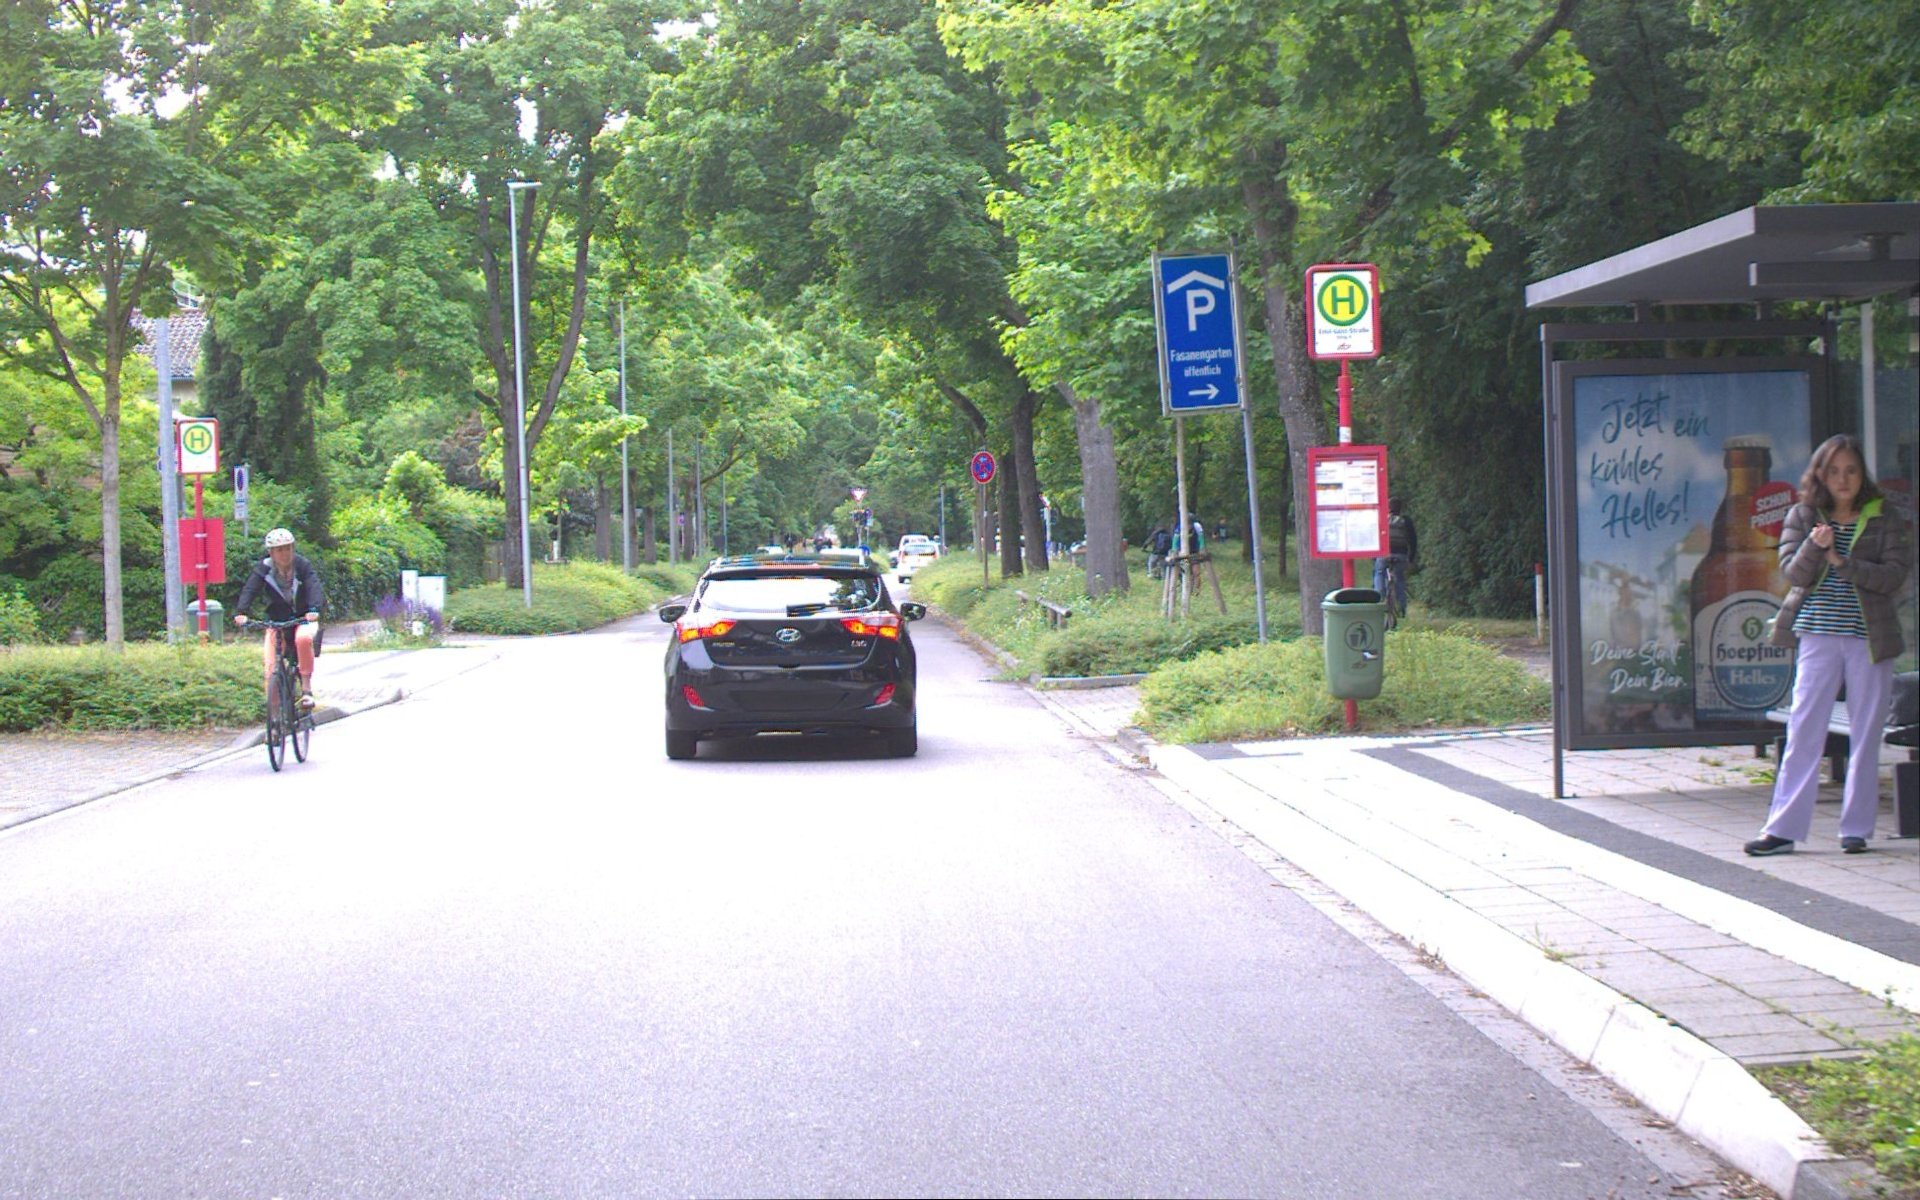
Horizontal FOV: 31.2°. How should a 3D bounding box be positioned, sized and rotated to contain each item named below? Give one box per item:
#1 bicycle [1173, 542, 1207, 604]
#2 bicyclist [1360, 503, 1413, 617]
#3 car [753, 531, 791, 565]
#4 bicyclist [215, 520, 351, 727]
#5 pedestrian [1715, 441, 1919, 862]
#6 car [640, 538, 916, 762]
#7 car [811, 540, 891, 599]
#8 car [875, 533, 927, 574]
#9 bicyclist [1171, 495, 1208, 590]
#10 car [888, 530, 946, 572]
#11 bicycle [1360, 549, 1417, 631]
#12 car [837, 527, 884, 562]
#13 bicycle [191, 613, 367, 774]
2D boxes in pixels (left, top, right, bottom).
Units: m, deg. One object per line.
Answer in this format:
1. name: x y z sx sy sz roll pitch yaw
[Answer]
1. bicycle: 3.809 -0.453 56.900 0.491 0.971 1.944 -2 1 5
2. bicyclist: 5.410 -0.513 43.639 0.597 1.404 0.758 -2 1 5
3. car: -8.488 -2.365 154.792 1.562 1.432 4.216 -2 1 -4
4. bicyclist: -4.976 0.159 25.320 0.784 1.464 0.937 -2 1 -2
5. pedestrian: 3.381 0.188 13.404 0.654 1.578 0.698 -2 1 -2
6. car: -1.328 0.305 25.277 1.846 1.457 3.828 -1 2 -3
7. car: -2.903 -0.833 90.990 1.864 1.457 4.118 -2 1 -5
8. car: -3.023 -2.360 174.732 1.993 2.007 4.001 -3 1 -9
9. bicyclist: 3.800 -0.952 56.938 0.535 1.544 0.758 -2 1 5
10. car: -1.588 -1.806 126.014 1.899 1.481 4.001 -1 1 -4
11. bicycle: 5.436 -0.136 43.677 0.607 0.971 1.944 -2 1 5
12. car: -4.438 -2.472 153.009 1.993 1.481 4.001 -2 1 -2
13. bicycle: -4.973 0.658 25.278 0.794 1.022 2.564 -2 1 -1
